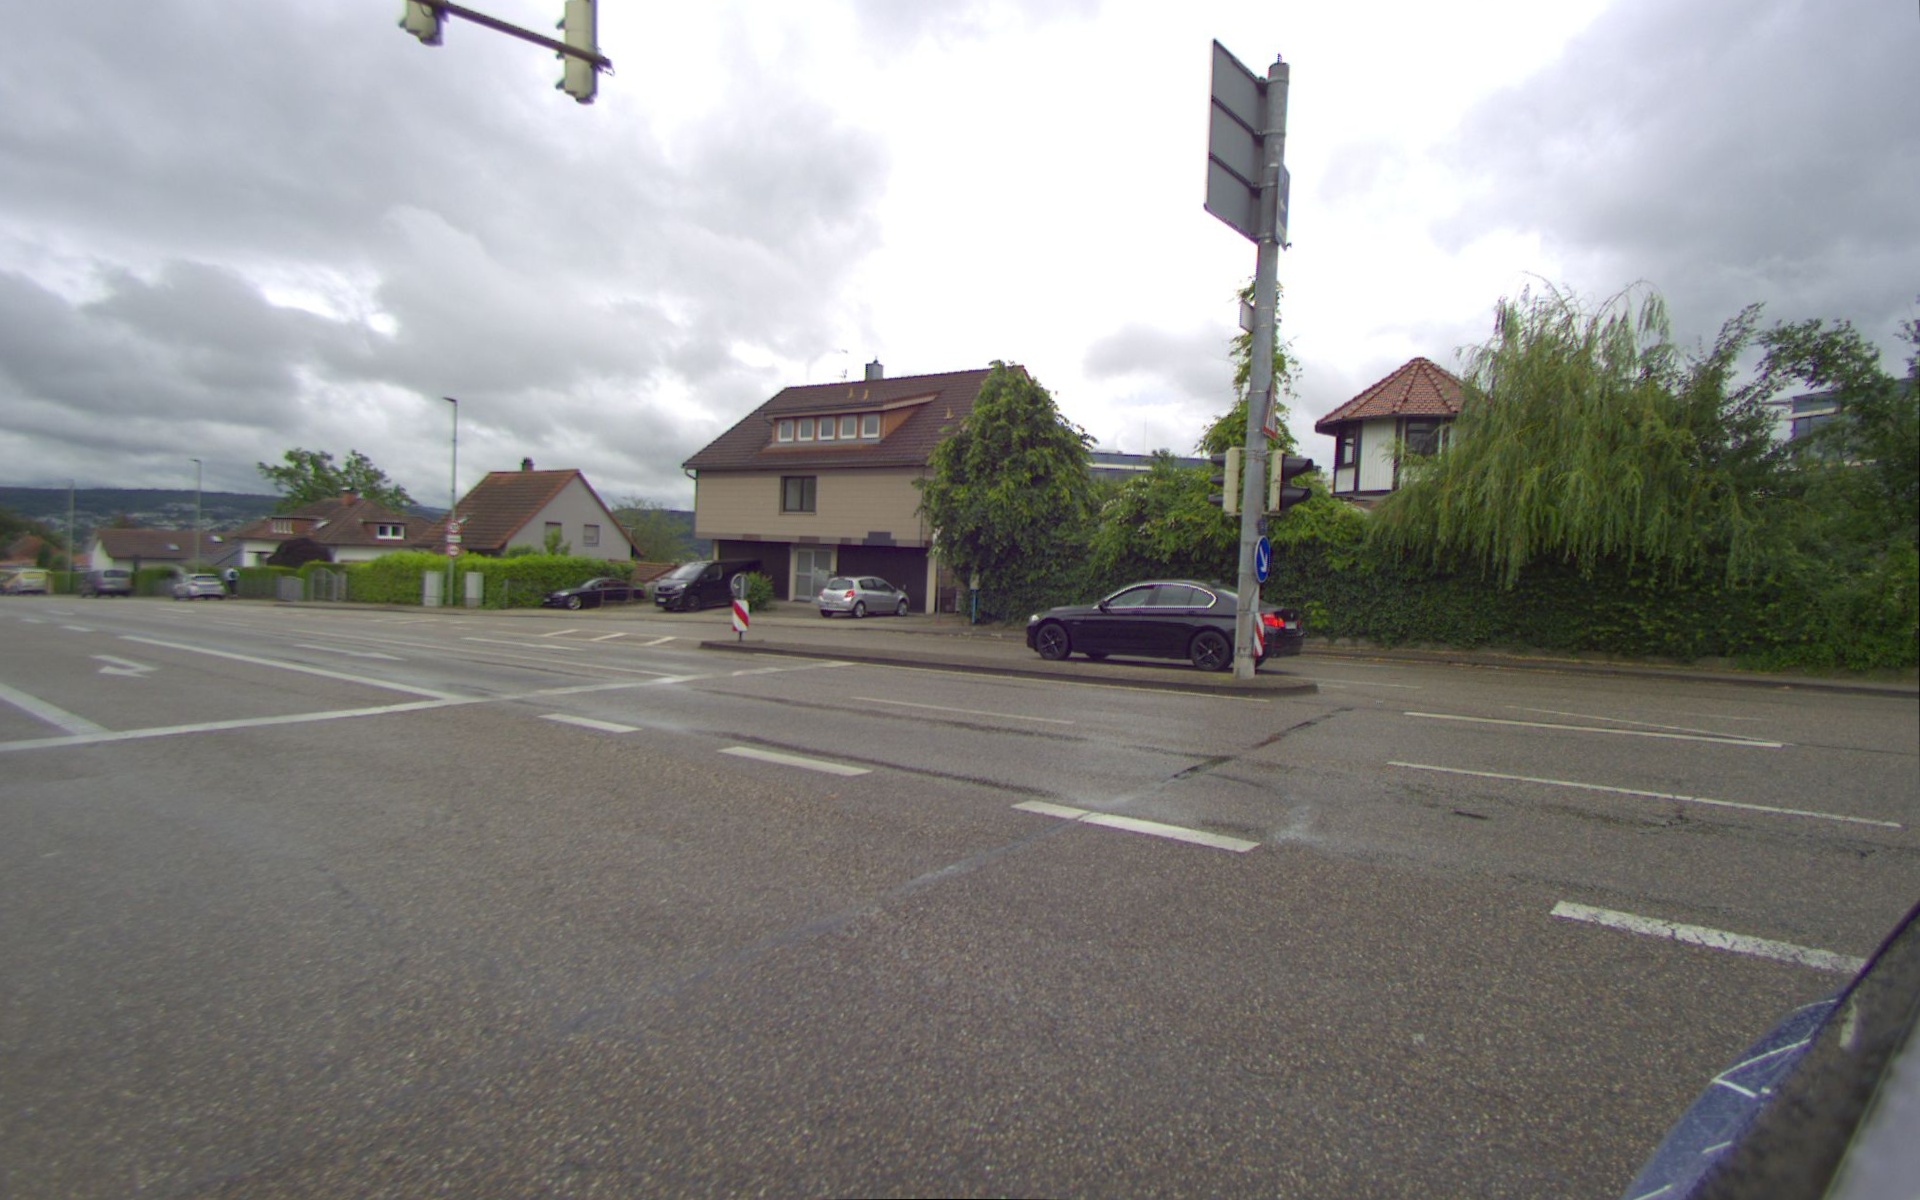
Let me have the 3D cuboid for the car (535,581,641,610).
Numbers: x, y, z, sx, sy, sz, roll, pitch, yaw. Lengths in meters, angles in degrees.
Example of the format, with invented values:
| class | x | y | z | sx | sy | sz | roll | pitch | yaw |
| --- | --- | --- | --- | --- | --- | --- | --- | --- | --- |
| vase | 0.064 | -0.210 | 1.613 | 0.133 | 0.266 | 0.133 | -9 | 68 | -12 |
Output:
| class | x | y | z | sx | sy | sz | roll | pitch | yaw |
| --- | --- | --- | --- | --- | --- | --- | --- | --- | --- |
| car | -15.877 | -0.229 | 43.312 | 1.690 | 1.077 | 4.001 | 1 | 3 | 37 |

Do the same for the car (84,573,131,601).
| class | x | y | z | sx | sy | sz | roll | pitch | yaw |
| --- | --- | --- | --- | --- | --- | --- | --- | --- | --- |
| car | -58.633 | -0.881 | 69.588 | 3.984 | 1.861 | 1.970 | 0 | 0 | 42 |

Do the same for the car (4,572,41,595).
| class | x | y | z | sx | sy | sz | roll | pitch | yaw |
| --- | --- | --- | --- | --- | --- | --- | --- | --- | --- |
| car | -78.277 | -1.336 | 84.493 | 3.984 | 1.861 | 1.970 | 0 | 0 | 42 |

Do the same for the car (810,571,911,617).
| class | x | y | z | sx | sy | sz | roll | pitch | yaw |
| --- | --- | --- | --- | --- | --- | --- | --- | --- | --- |
| car | -3.558 | -0.252 | 36.608 | 1.761 | 1.472 | 3.527 | 3 | 4 | 36 |

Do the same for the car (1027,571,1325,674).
| class | x | y | z | sx | sy | sz | roll | pitch | yaw |
| --- | --- | --- | --- | --- | --- | --- | --- | --- | --- |
| car | 3.584 | 0.286 | 17.255 | 4.579 | 1.471 | 1.973 | 2 | 2 | 38 |

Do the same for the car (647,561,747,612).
| class | x | y | z | sx | sy | sz | roll | pitch | yaw |
| --- | --- | --- | --- | --- | --- | --- | --- | --- | --- |
| car | -10.453 | -0.589 | 40.424 | 1.761 | 1.668 | 3.530 | 3 | 7 | 36 |

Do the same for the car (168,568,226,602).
| class | x | y | z | sx | sy | sz | roll | pitch | yaw |
| --- | --- | --- | --- | --- | --- | --- | --- | --- | --- |
| car | -44.051 | -0.852 | 58.380 | 3.984 | 1.861 | 1.970 | 0 | 0 | 42 |
